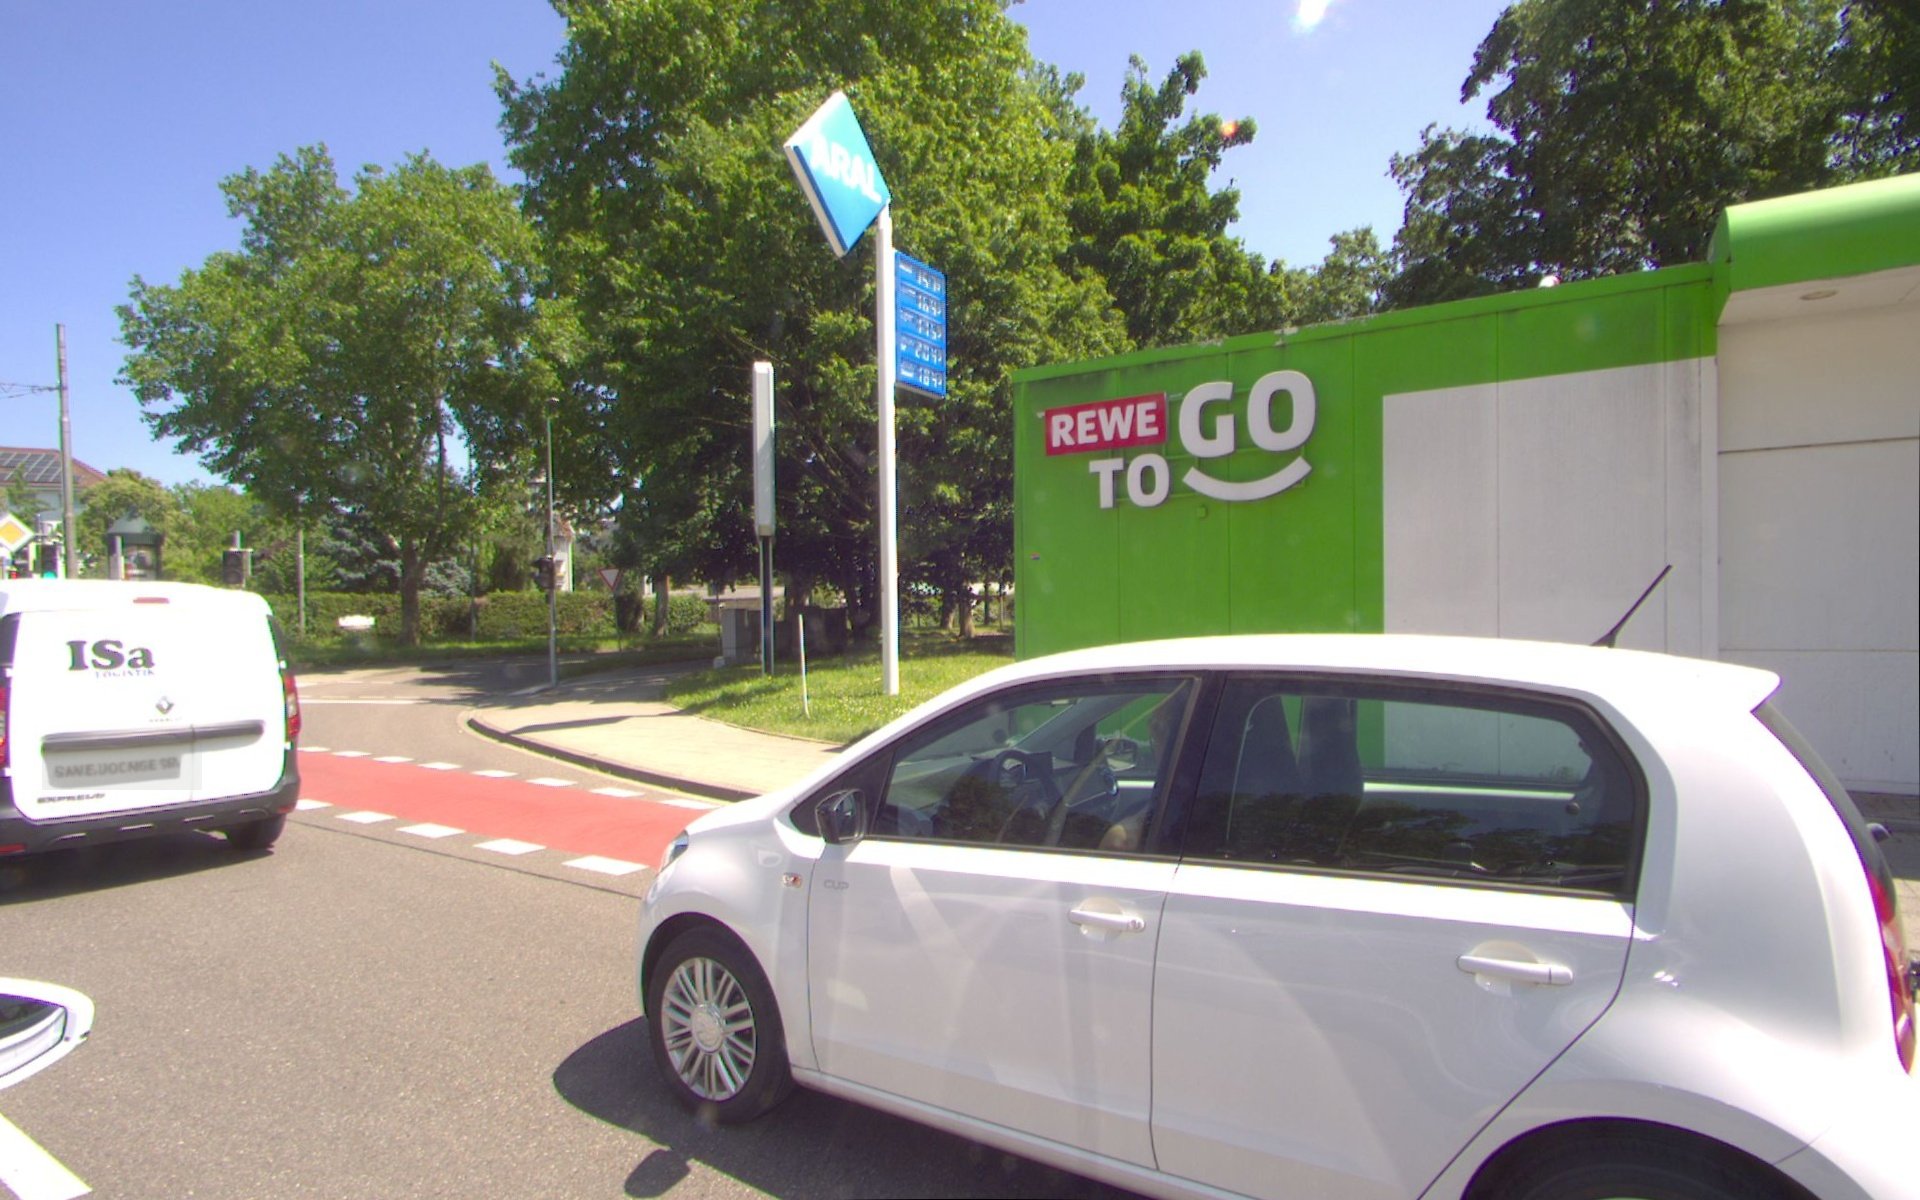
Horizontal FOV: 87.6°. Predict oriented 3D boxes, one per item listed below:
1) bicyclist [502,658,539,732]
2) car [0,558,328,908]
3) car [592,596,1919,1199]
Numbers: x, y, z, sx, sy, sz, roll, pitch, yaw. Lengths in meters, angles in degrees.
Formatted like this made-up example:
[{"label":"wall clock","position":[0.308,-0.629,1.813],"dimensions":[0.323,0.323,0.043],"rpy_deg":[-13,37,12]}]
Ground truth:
[{"label":"bicyclist","position":[-11.020,2.358,25.114],"dimensions":[0.759,1.810,0.574],"rpy_deg":[-1,-2,40]},{"label":"car","position":[-6.300,0.744,6.881],"dimensions":[4.005,1.811,1.725],"rpy_deg":[-1,-2,31]},{"label":"car","position":[0.664,0.758,2.996],"dimensions":[3.387,1.466,1.606],"rpy_deg":[0,-1,33]}]
